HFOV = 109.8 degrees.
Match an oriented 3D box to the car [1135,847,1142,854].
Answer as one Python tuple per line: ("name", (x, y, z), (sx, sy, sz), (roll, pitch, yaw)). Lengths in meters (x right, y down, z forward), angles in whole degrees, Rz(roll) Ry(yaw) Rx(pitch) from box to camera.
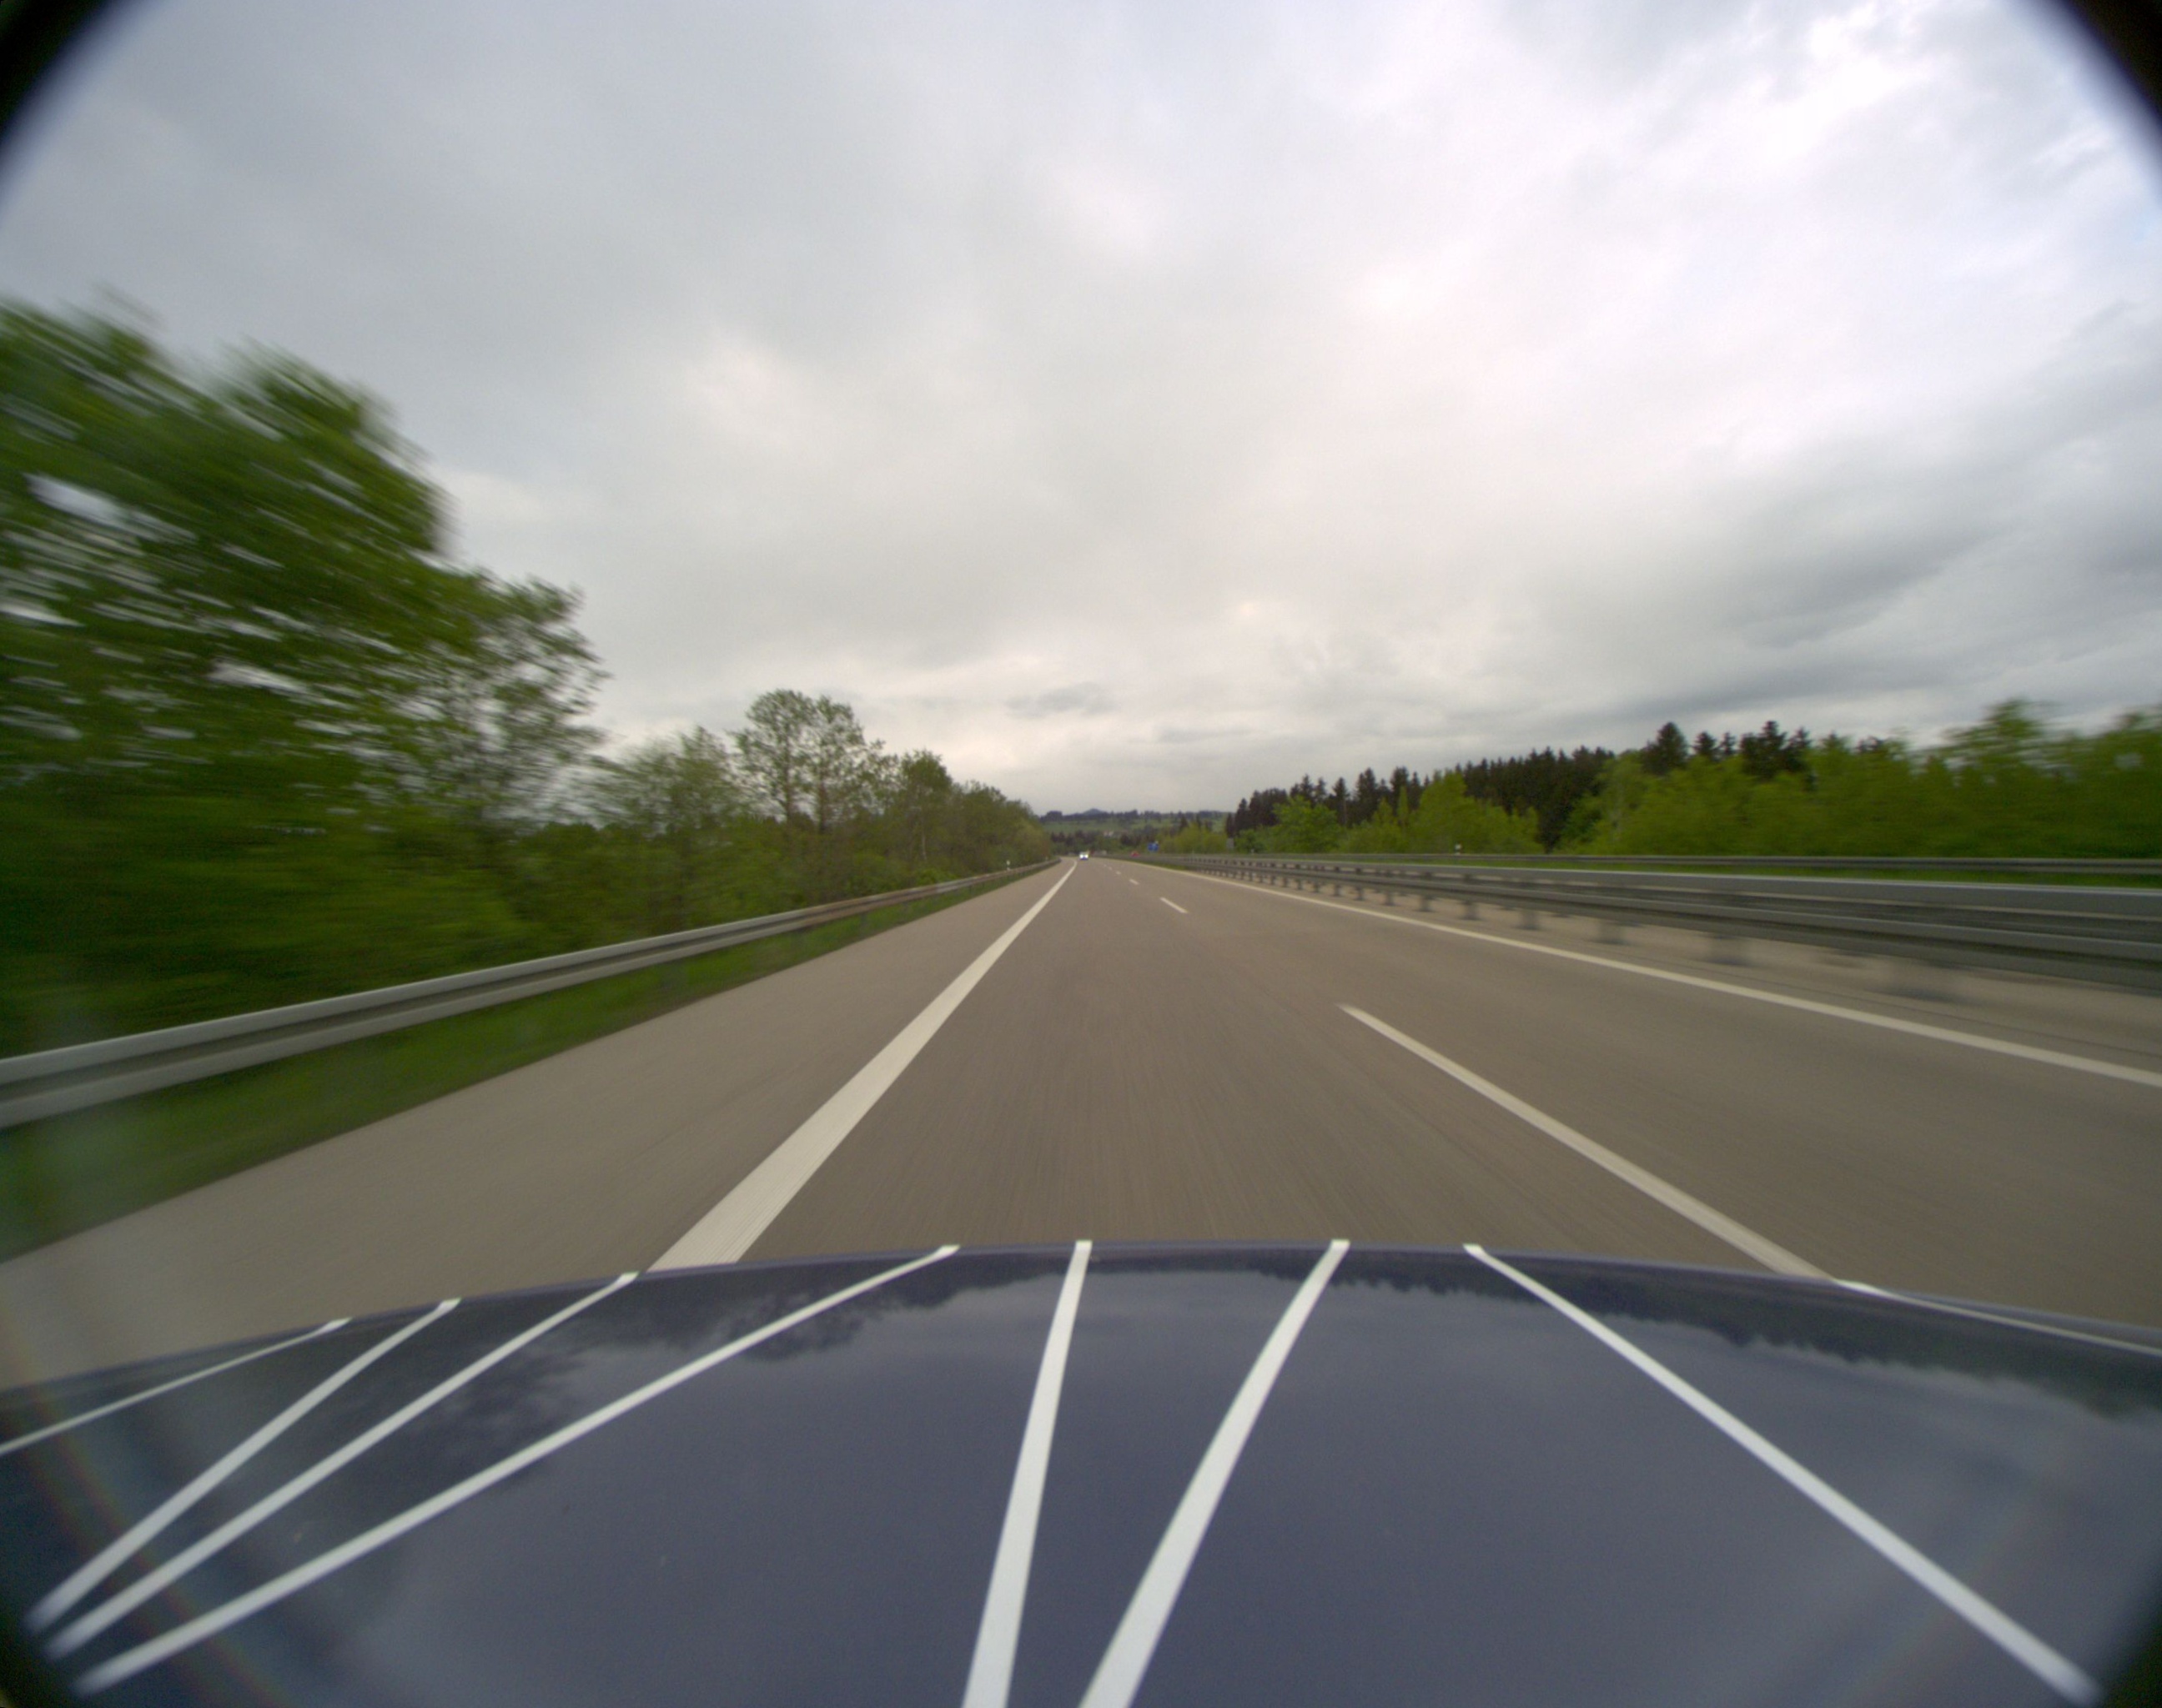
("car", (16.457, -1.108, 218.215), (1.998, 2.002, 4.001), (-2, 0, 4))

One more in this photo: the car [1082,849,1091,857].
("car", (1.300, -0.163, 182.133), (2.021, 1.899, 4.220), (-2, 0, 0))
